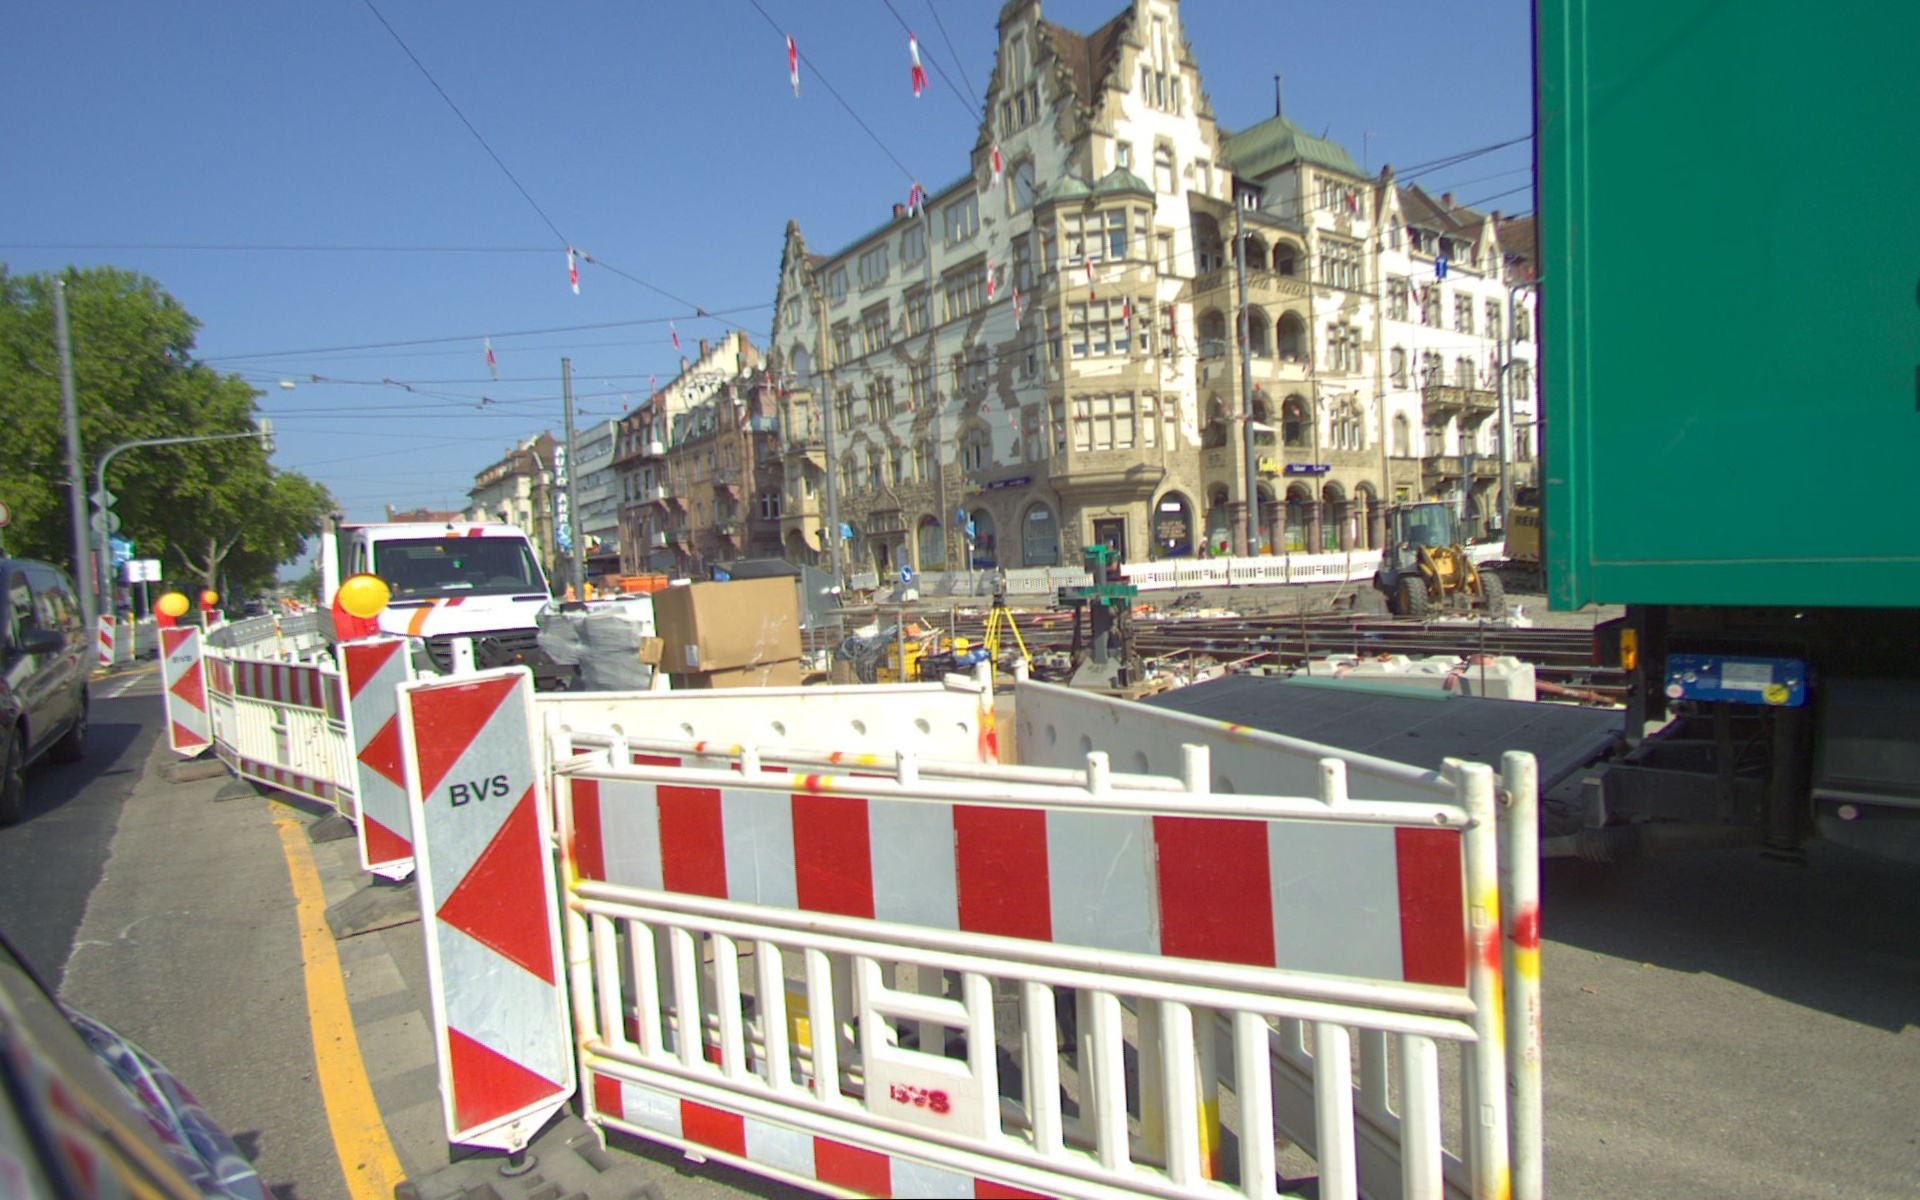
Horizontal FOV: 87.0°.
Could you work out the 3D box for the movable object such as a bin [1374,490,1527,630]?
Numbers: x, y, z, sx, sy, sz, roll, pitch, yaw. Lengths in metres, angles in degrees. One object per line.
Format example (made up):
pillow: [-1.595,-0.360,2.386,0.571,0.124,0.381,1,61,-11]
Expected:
movable object such as a bin: [11.322,-0.896,23.756,2.429,2.855,4.790,-2,1,17]

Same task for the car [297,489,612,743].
car: [-6.947,0.138,13.241,2.179,2.442,7.214,-3,1,-38]

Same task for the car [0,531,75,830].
car: [-7.370,0.517,6.675,1.823,1.900,4.189,0,-1,-35]

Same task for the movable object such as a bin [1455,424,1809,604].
movable object such as a bin: [18.701,-2.317,28.389,7.254,4.379,4.986,-3,2,-22]

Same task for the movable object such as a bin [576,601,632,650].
movable object such as a bin: [-9.670,0.666,27.438,0.875,1.220,2.218,-3,1,-33]

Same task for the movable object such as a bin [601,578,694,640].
movable object such as a bin: [-8.826,0.239,28.476,1.578,1.570,3.295,-3,1,-33]

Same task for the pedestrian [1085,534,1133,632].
pedestrian: [3.003,-0.345,20.489,0.712,1.927,0.790,-2,1,-7]

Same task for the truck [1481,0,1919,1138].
truck: [5.589,-0.872,1.121,8.418,3.941,2.763,-3,2,43]
